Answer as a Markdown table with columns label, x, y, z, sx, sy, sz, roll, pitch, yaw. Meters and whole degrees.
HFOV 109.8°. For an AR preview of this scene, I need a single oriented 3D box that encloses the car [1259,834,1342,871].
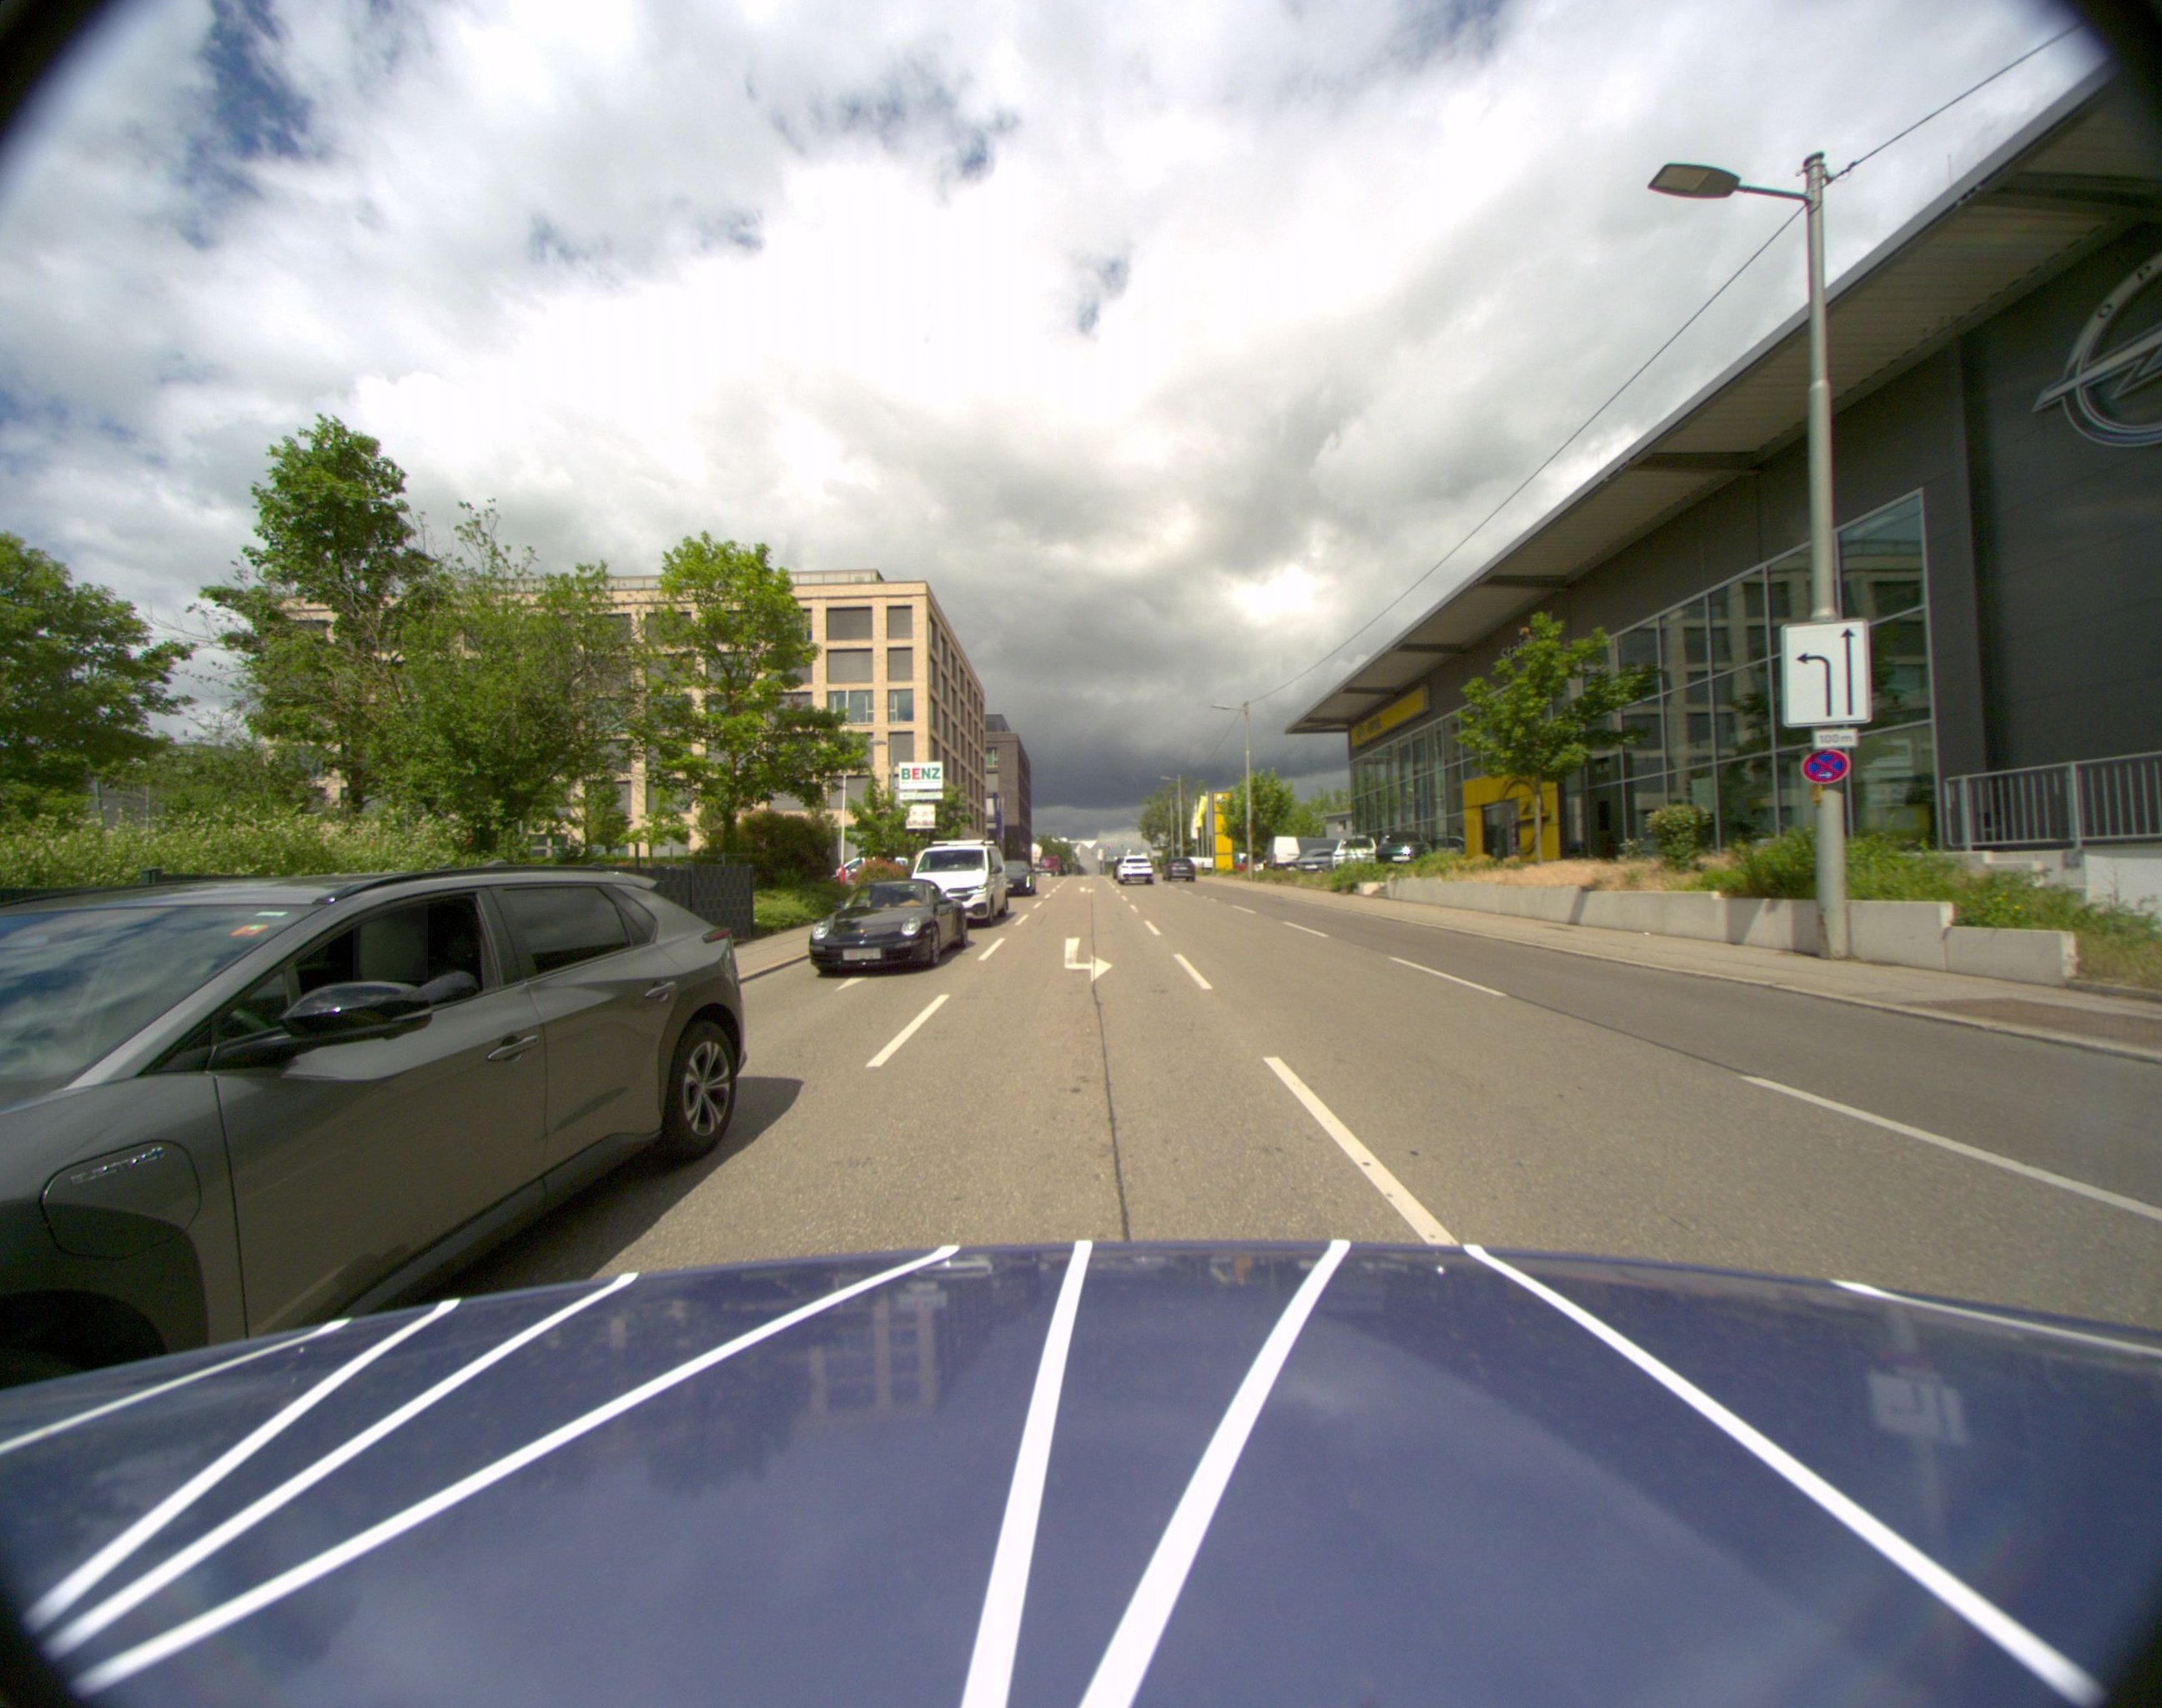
| label | x | y | z | sx | sy | sz | roll | pitch | yaw |
| --- | --- | --- | --- | --- | --- | --- | --- | --- | --- |
| car | 13.769 | -0.110 | 47.827 | 4.531 | 2.182 | 2.179 | -1 | 1 | -1 |

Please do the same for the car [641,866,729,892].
| label | x | y | z | sx | sy | sz | roll | pitch | yaw |
| --- | --- | --- | --- | --- | --- | --- | --- | --- | --- |
| car | -23.370 | 1.462 | 44.934 | 4.219 | 1.410 | 1.735 | -1 | 0 | -1 |

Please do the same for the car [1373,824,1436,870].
| label | x | y | z | sx | sy | sz | roll | pitch | yaw |
| --- | --- | --- | --- | --- | --- | --- | --- | --- | --- |
| car | 12.366 | -0.240 | 28.900 | 1.817 | 1.604 | 4.117 | 0 | 0 | 29 |

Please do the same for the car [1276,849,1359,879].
| label | x | y | z | sx | sy | sz | roll | pitch | yaw |
| --- | --- | --- | --- | --- | --- | --- | --- | --- | --- |
| car | 13.343 | 0.574 | 43.019 | 4.108 | 1.604 | 1.797 | -1 | 0 | -8 |

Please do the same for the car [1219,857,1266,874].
| label | x | y | z | sx | sy | sz | roll | pitch | yaw |
| --- | --- | --- | --- | --- | --- | --- | --- | --- | --- |
| car | 13.714 | 0.982 | 64.802 | 3.669 | 1.401 | 1.815 | -1 | 0 | 2 |

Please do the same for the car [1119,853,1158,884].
| label | x | y | z | sx | sy | sz | roll | pitch | yaw |
| --- | --- | --- | --- | --- | --- | --- | --- | --- | --- |
| car | 3.288 | 0.808 | 43.896 | 1.924 | 1.604 | 4.416 | -2 | 0 | 1 |

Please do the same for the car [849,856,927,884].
| label | x | y | z | sx | sy | sz | roll | pitch | yaw |
| --- | --- | --- | --- | --- | --- | --- | --- | --- | --- |
| car | -11.503 | 0.939 | 45.507 | 4.220 | 1.567 | 1.735 | -1 | 0 | -4 |

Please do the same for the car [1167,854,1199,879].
| label | x | y | z | sx | sy | sz | roll | pitch | yaw |
| --- | --- | --- | --- | --- | --- | --- | --- | --- | --- |
| car | 6.710 | 0.801 | 50.402 | 1.762 | 1.513 | 3.958 | -1 | 0 | 3 |

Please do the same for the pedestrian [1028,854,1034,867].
| label | x | y | z | sx | sy | sz | roll | pitch | yaw |
| --- | --- | --- | --- | --- | --- | --- | --- | --- | --- |
| pedestrian | -6.122 | 0.804 | 92.780 | 0.578 | 1.497 | 0.542 | -1 | 1 | 1 |

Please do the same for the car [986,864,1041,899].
| label | x | y | z | sx | sy | sz | roll | pitch | yaw |
| --- | --- | --- | --- | --- | --- | --- | --- | --- | --- |
| car | -2.817 | 1.129 | 32.558 | 1.777 | 1.267 | 4.569 | -1 | 0 | 2 |

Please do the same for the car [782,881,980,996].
| label | x | y | z | sx | sy | sz | roll | pitch | yaw |
| --- | --- | --- | --- | --- | --- | --- | --- | --- | --- |
| car | -2.894 | 1.178 | 12.136 | 1.777 | 1.267 | 4.569 | -3 | 0 | 2 |

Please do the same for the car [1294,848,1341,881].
| label | x | y | z | sx | sy | sz | roll | pitch | yaw |
| --- | --- | --- | --- | --- | --- | --- | --- | --- | --- |
| car | 12.179 | 0.502 | 39.017 | 1.794 | 1.604 | 4.116 | -1 | 0 | 24 |

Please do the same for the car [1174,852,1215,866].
| label | x | y | z | sx | sy | sz | roll | pitch | yaw |
| --- | --- | --- | --- | --- | --- | --- | --- | --- | --- |
| car | 12.558 | 0.574 | 84.411 | 4.252 | 1.473 | 2.095 | -1 | 0 | -2 |

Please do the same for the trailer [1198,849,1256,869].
| label | x | y | z | sx | sy | sz | roll | pitch | yaw |
| --- | --- | --- | --- | --- | --- | --- | --- | --- | --- |
| trailer | 13.155 | 0.464 | 68.688 | 4.835 | 1.742 | 2.095 | -1 | 0 | -3 |

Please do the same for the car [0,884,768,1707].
| label | x | y | z | sx | sy | sz | roll | pitch | yaw |
| --- | --- | --- | --- | --- | --- | --- | --- | --- | --- |
| car | -2.973 | 1.027 | 2.385 | 1.924 | 1.604 | 4.683 | -3 | 0 | 1 |

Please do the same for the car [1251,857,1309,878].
| label | x | y | z | sx | sy | sz | roll | pitch | yaw |
| --- | --- | --- | --- | --- | --- | --- | --- | --- | --- |
| car | 14.970 | 1.023 | 57.292 | 3.946 | 1.518 | 1.561 | -1 | 0 | -2 |

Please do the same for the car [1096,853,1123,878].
| label | x | y | z | sx | sy | sz | roll | pitch | yaw |
| --- | --- | --- | --- | --- | --- | --- | --- | --- | --- |
| car | 2.093 | 0.824 | 56.670 | 1.797 | 1.604 | 4.107 | 0 | 2 | -1 |

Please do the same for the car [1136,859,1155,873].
| label | x | y | z | sx | sy | sz | roll | pitch | yaw |
| --- | --- | --- | --- | --- | --- | --- | --- | --- | --- |
| car | 6.662 | 1.205 | 78.725 | 1.763 | 1.405 | 3.734 | 1 | 0 | 1 |

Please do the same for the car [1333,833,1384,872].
| label | x | y | z | sx | sy | sz | roll | pitch | yaw |
| --- | --- | --- | --- | --- | --- | --- | --- | --- | --- |
| car | 12.350 | -0.083 | 33.655 | 1.793 | 1.604 | 4.115 | -1 | 1 | 25 |

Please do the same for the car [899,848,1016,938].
| label | x | y | z | sx | sy | sz | roll | pitch | yaw |
| --- | --- | --- | --- | --- | --- | --- | --- | --- | --- |
| car | -2.865 | 0.848 | 18.693 | 1.964 | 1.840 | 4.645 | -3 | 0 | 1 |
